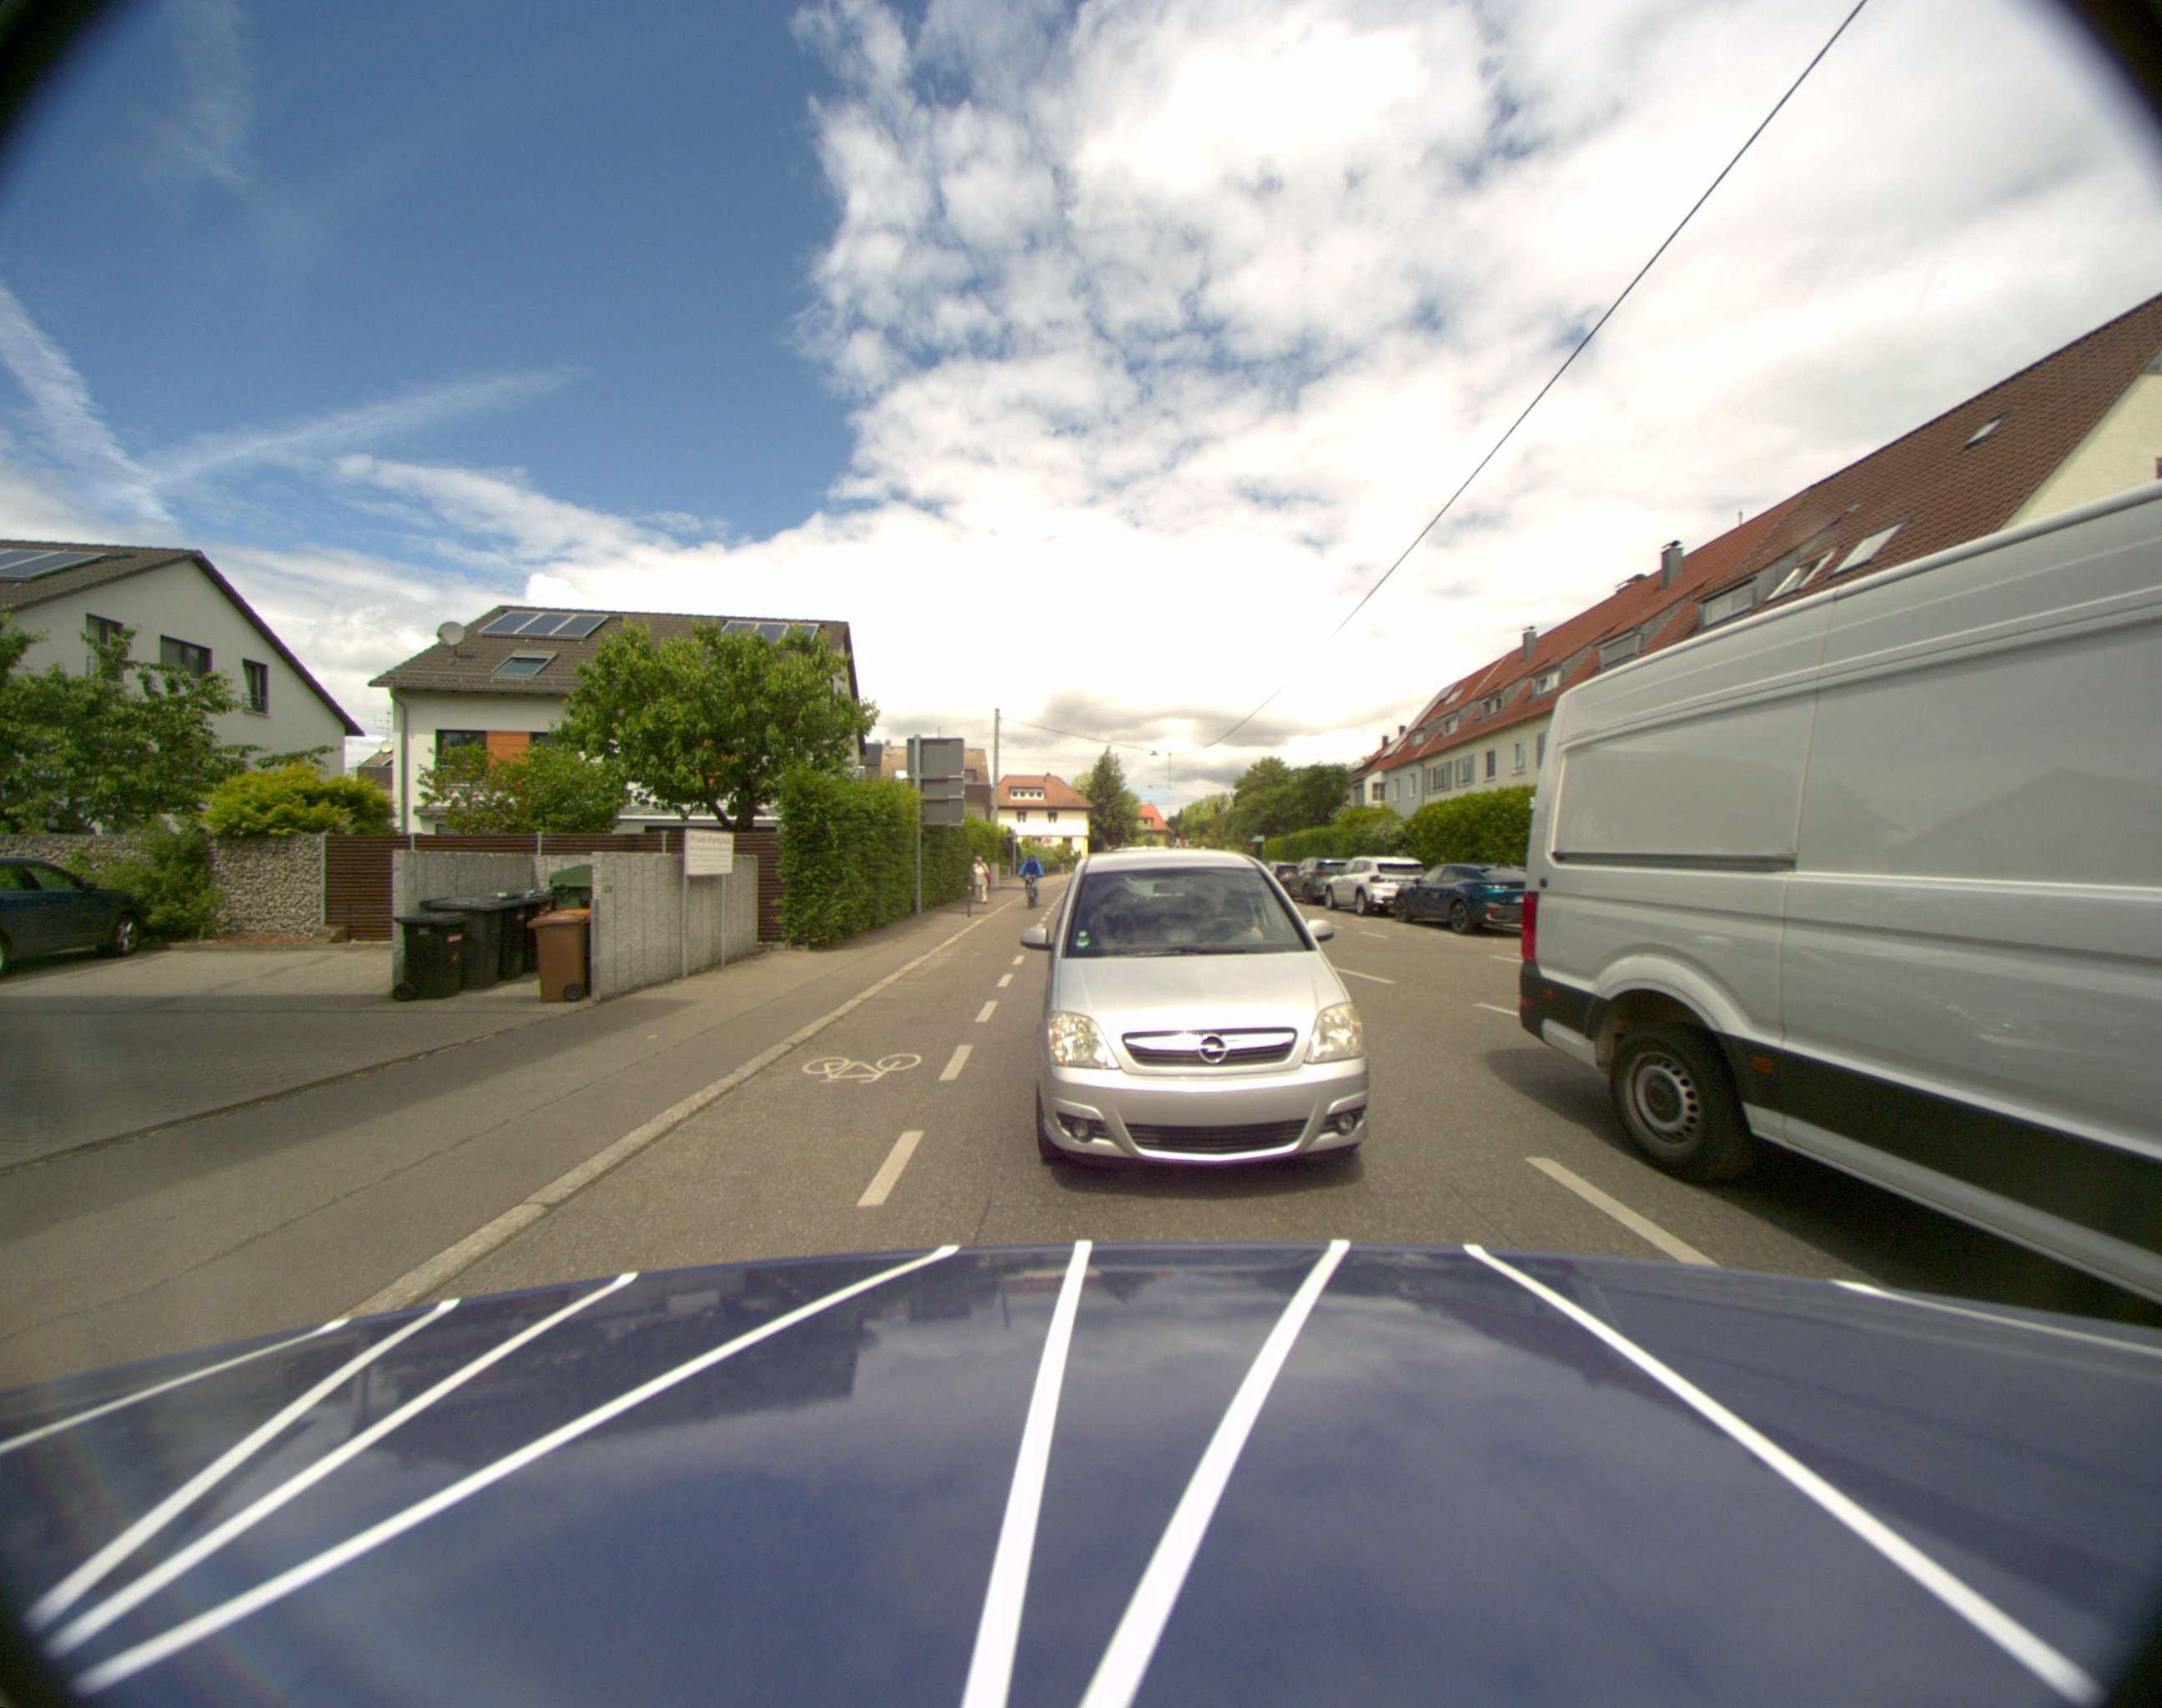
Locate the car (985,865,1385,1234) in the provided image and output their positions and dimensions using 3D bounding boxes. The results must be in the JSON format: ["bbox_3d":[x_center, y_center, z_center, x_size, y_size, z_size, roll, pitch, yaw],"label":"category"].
[{"bbox_3d":[0.610,0.906,5.508,1.707,1.531,4.332,-2,0,4],"label":"car"}]

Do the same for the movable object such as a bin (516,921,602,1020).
[{"bbox_3d":[-5.610,1.230,8.197,0.534,0.945,0.686,-1,0,-13],"label":"movable object such as a bin"}]

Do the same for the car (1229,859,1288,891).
[{"bbox_3d":[8.821,1.004,38.185,1.782,1.483,4.565,0,0,-1],"label":"car"}]

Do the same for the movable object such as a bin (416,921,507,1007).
[{"bbox_3d":[-7.135,1.252,8.771,0.635,0.887,0.539,-1,1,-16],"label":"movable object such as a bin"}]

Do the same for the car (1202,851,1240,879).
[{"bbox_3d":[9.901,0.746,54.144,1.998,1.884,5.405,2,0,4],"label":"car"}]

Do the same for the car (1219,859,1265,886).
[{"bbox_3d":[9.154,1.029,43.546,1.782,1.409,4.440,0,0,2],"label":"car"}]

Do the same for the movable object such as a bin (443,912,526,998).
[{"bbox_3d":[-7.285,1.217,9.304,0.629,0.962,0.539,-1,1,-16],"label":"movable object such as a bin"}]

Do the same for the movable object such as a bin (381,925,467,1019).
[{"bbox_3d":[-7.078,1.253,8.206,0.494,0.907,0.539,-1,1,-16],"label":"movable object such as a bin"}]

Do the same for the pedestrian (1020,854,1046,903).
[{"bbox_3d":[-1.509,0.767,24.199,0.736,1.508,0.872,-1,1,1],"label":"pedestrian"}]

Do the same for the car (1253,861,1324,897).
[{"bbox_3d":[8.824,1.016,32.751,1.998,1.400,4.690,0,0,3],"label":"car"}]

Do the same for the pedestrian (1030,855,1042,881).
[{"bbox_3d":[-2.848,0.899,47.850,0.604,1.596,0.836,2,1,2],"label":"pedestrian"}]

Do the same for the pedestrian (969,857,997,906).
[{"bbox_3d":[-3.268,0.902,25.290,0.800,1.608,0.653,1,1,2],"label":"pedestrian"}]

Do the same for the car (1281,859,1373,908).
[{"bbox_3d":[8.671,0.979,27.259,1.998,1.555,4.690,0,0,3],"label":"car"}]

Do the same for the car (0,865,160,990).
[{"bbox_3d":[-14.686,0.939,10.002,1.790,1.527,3.789,0,0,-25],"label":"car"}]

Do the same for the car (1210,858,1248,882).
[{"bbox_3d":[9.462,0.978,48.842,1.782,1.409,4.340,0,0,3],"label":"car"}]

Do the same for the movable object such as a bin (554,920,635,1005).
[{"bbox_3d":[-5.715,1.259,8.957,0.533,0.887,0.679,-1,0,-5],"label":"movable object such as a bin"}]

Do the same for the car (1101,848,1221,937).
[{"bbox_3d":[1.674,0.770,17.315,1.781,1.760,4.186,-1,0,-7],"label":"car"}]

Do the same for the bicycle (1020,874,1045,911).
[{"bbox_3d":[-1.534,1.188,24.195,0.536,1.039,2.409,-1,0,2],"label":"bicycle"}]

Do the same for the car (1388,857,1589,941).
[{"bbox_3d":[8.731,0.866,16.821,1.999,1.578,4.488,0,0,-1],"label":"car"}]

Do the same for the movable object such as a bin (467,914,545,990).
[{"bbox_3d":[-7.422,1.255,9.838,0.635,0.887,0.539,-1,1,-16],"label":"movable object such as a bin"}]

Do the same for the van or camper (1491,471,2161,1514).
[{"bbox_3d":[3.667,0.327,1.795,2.030,2.564,5.923,-2,-1,-1],"label":"van or camper"}]

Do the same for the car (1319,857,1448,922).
[{"bbox_3d":[8.503,0.926,21.845,1.998,1.641,4.517,0,0,1],"label":"car"}]

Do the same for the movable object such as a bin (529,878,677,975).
[{"bbox_3d":[-6.925,1.012,11.126,1.192,1.255,1.535,-1,0,-2],"label":"movable object such as a bin"}]
